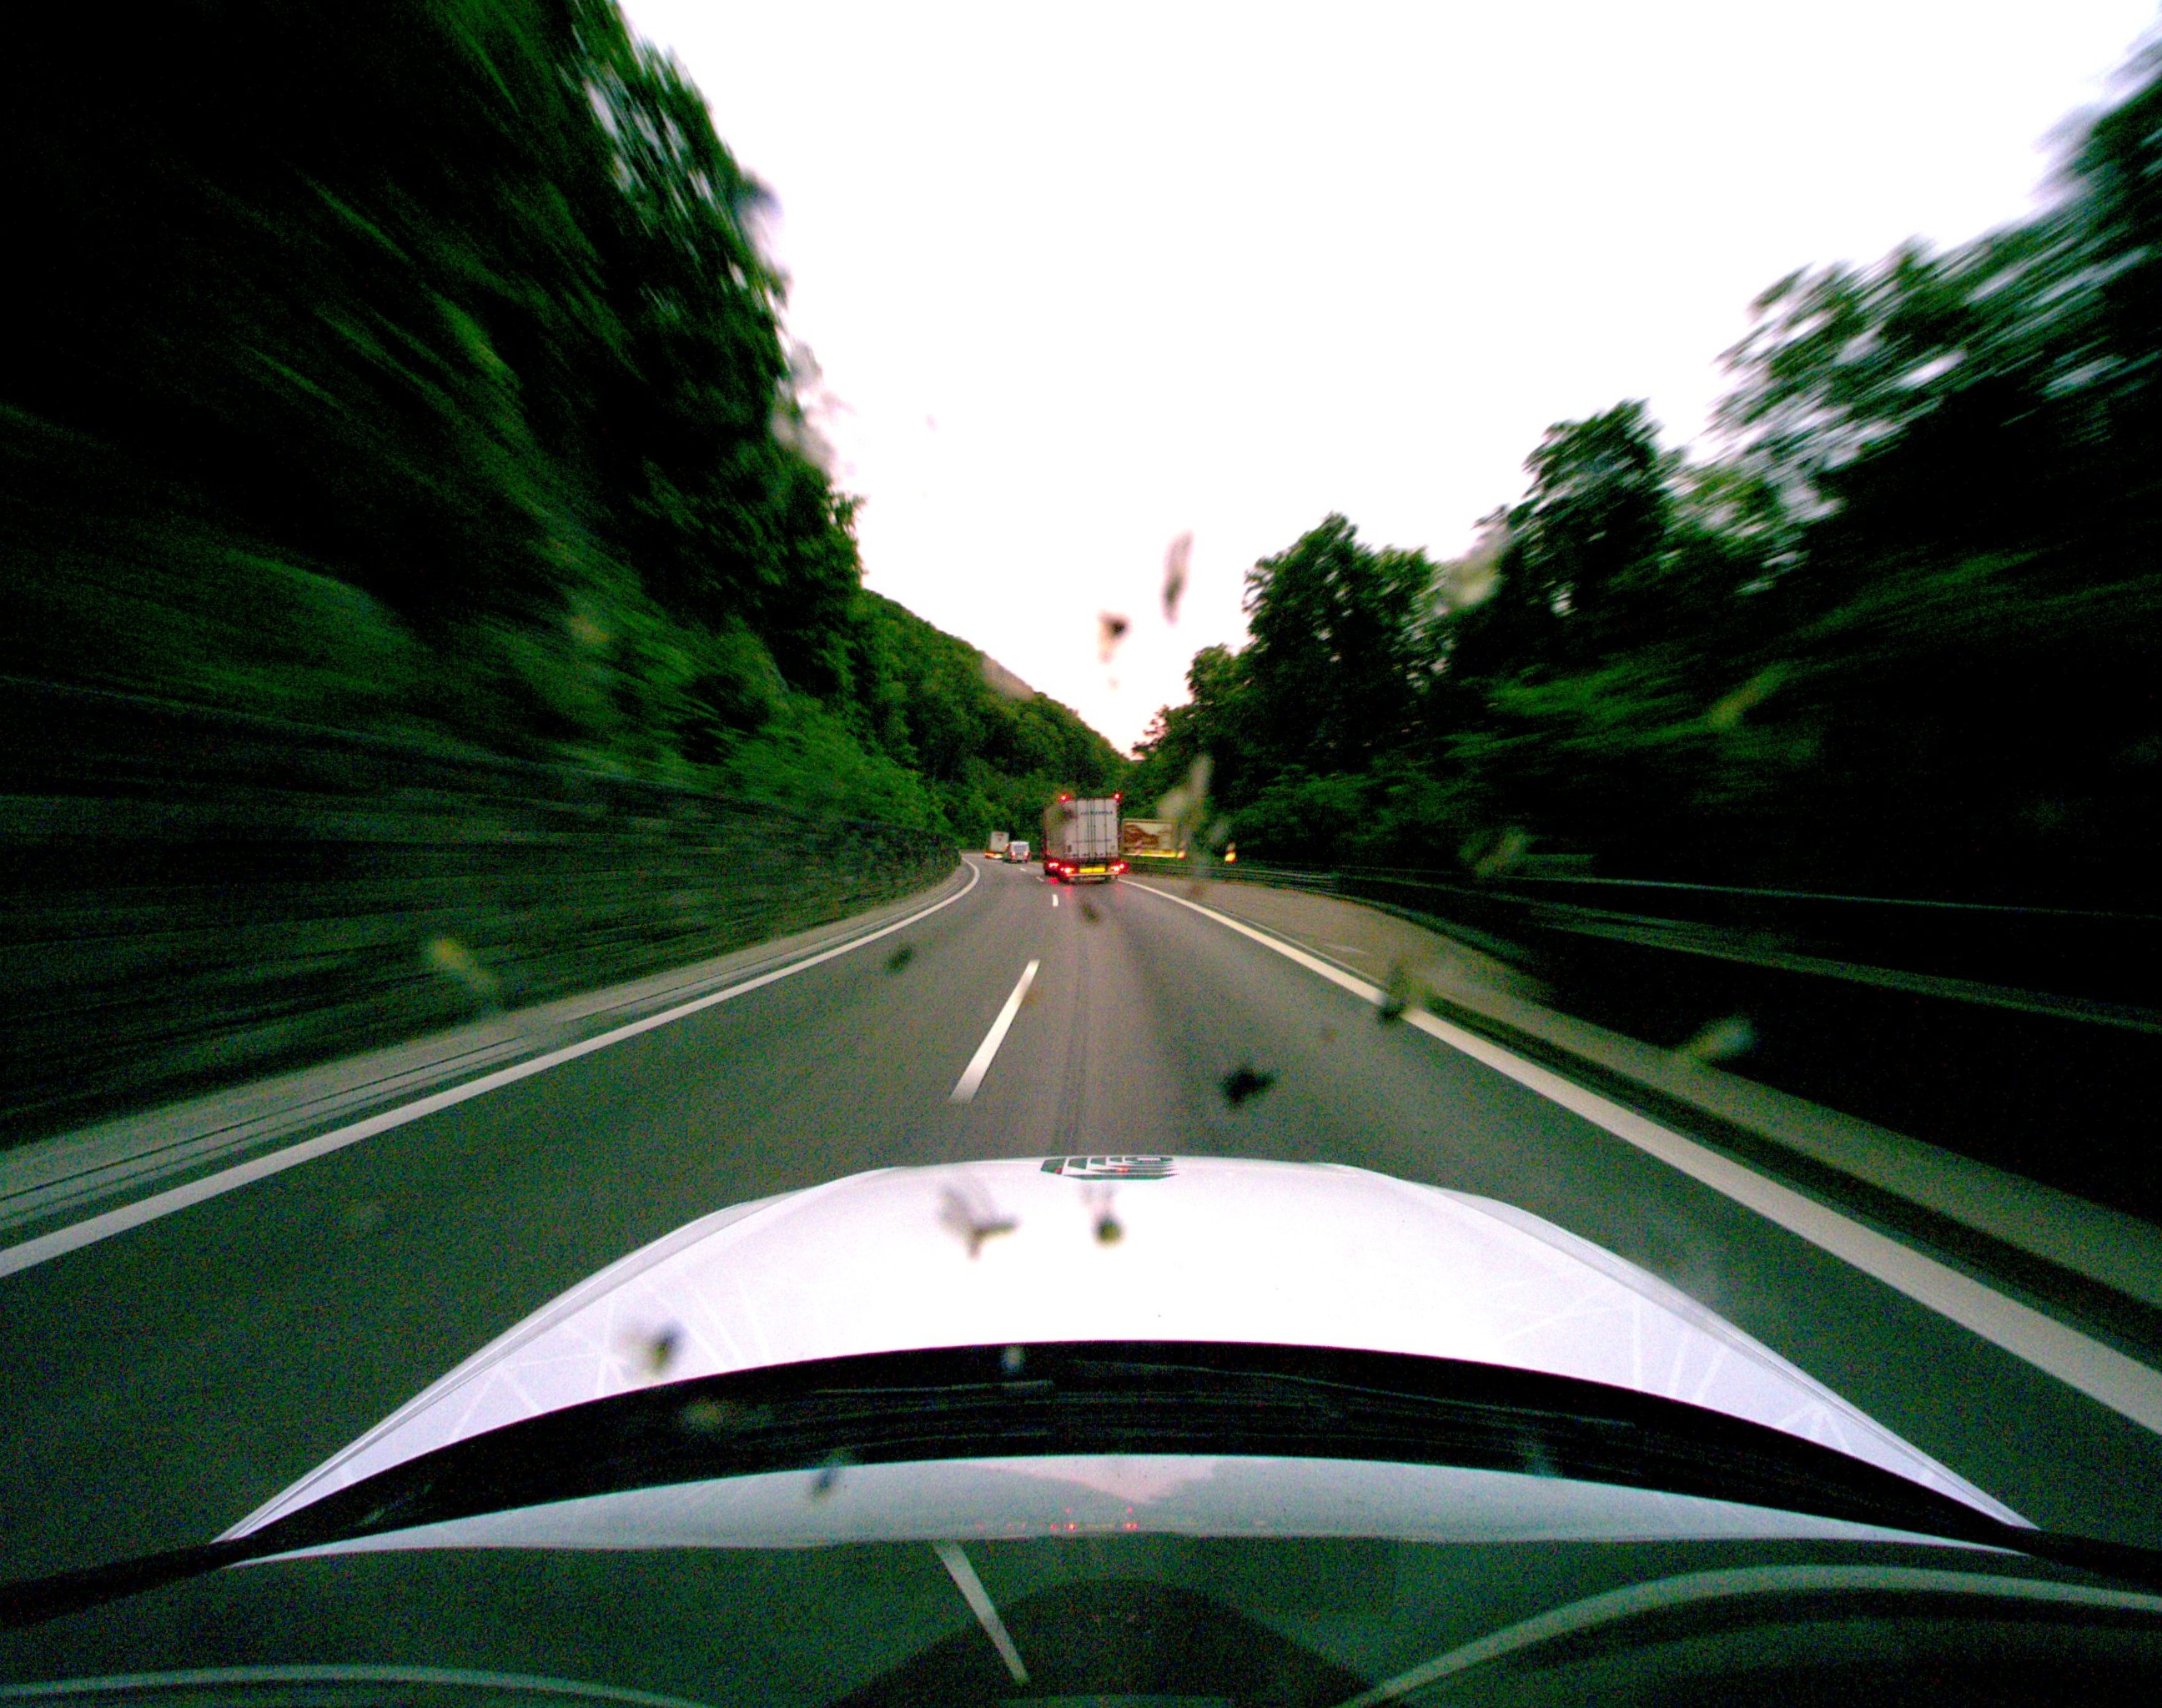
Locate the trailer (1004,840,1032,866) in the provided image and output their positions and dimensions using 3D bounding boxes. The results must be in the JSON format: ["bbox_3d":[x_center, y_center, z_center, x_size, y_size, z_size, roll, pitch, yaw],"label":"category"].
[{"bbox_3d":[-6.777,-0.168,86.760,2.056,2.374,5.916,5,1,-12],"label":"trailer"}]

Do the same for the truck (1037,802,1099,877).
[{"bbox_3d":[-0.906,-0.952,49.620,3.065,4.143,6.435,-3,2,-6],"label":"truck"}]

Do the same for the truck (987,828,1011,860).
[{"bbox_3d":[-12.092,-1.340,120.938,3.290,4.173,16.470,1,-1,-5],"label":"truck"}]

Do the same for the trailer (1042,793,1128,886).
[{"bbox_3d":[-0.156,-0.921,42.927,3.092,3.969,14.194,-2,2,-5],"label":"trailer"}]
